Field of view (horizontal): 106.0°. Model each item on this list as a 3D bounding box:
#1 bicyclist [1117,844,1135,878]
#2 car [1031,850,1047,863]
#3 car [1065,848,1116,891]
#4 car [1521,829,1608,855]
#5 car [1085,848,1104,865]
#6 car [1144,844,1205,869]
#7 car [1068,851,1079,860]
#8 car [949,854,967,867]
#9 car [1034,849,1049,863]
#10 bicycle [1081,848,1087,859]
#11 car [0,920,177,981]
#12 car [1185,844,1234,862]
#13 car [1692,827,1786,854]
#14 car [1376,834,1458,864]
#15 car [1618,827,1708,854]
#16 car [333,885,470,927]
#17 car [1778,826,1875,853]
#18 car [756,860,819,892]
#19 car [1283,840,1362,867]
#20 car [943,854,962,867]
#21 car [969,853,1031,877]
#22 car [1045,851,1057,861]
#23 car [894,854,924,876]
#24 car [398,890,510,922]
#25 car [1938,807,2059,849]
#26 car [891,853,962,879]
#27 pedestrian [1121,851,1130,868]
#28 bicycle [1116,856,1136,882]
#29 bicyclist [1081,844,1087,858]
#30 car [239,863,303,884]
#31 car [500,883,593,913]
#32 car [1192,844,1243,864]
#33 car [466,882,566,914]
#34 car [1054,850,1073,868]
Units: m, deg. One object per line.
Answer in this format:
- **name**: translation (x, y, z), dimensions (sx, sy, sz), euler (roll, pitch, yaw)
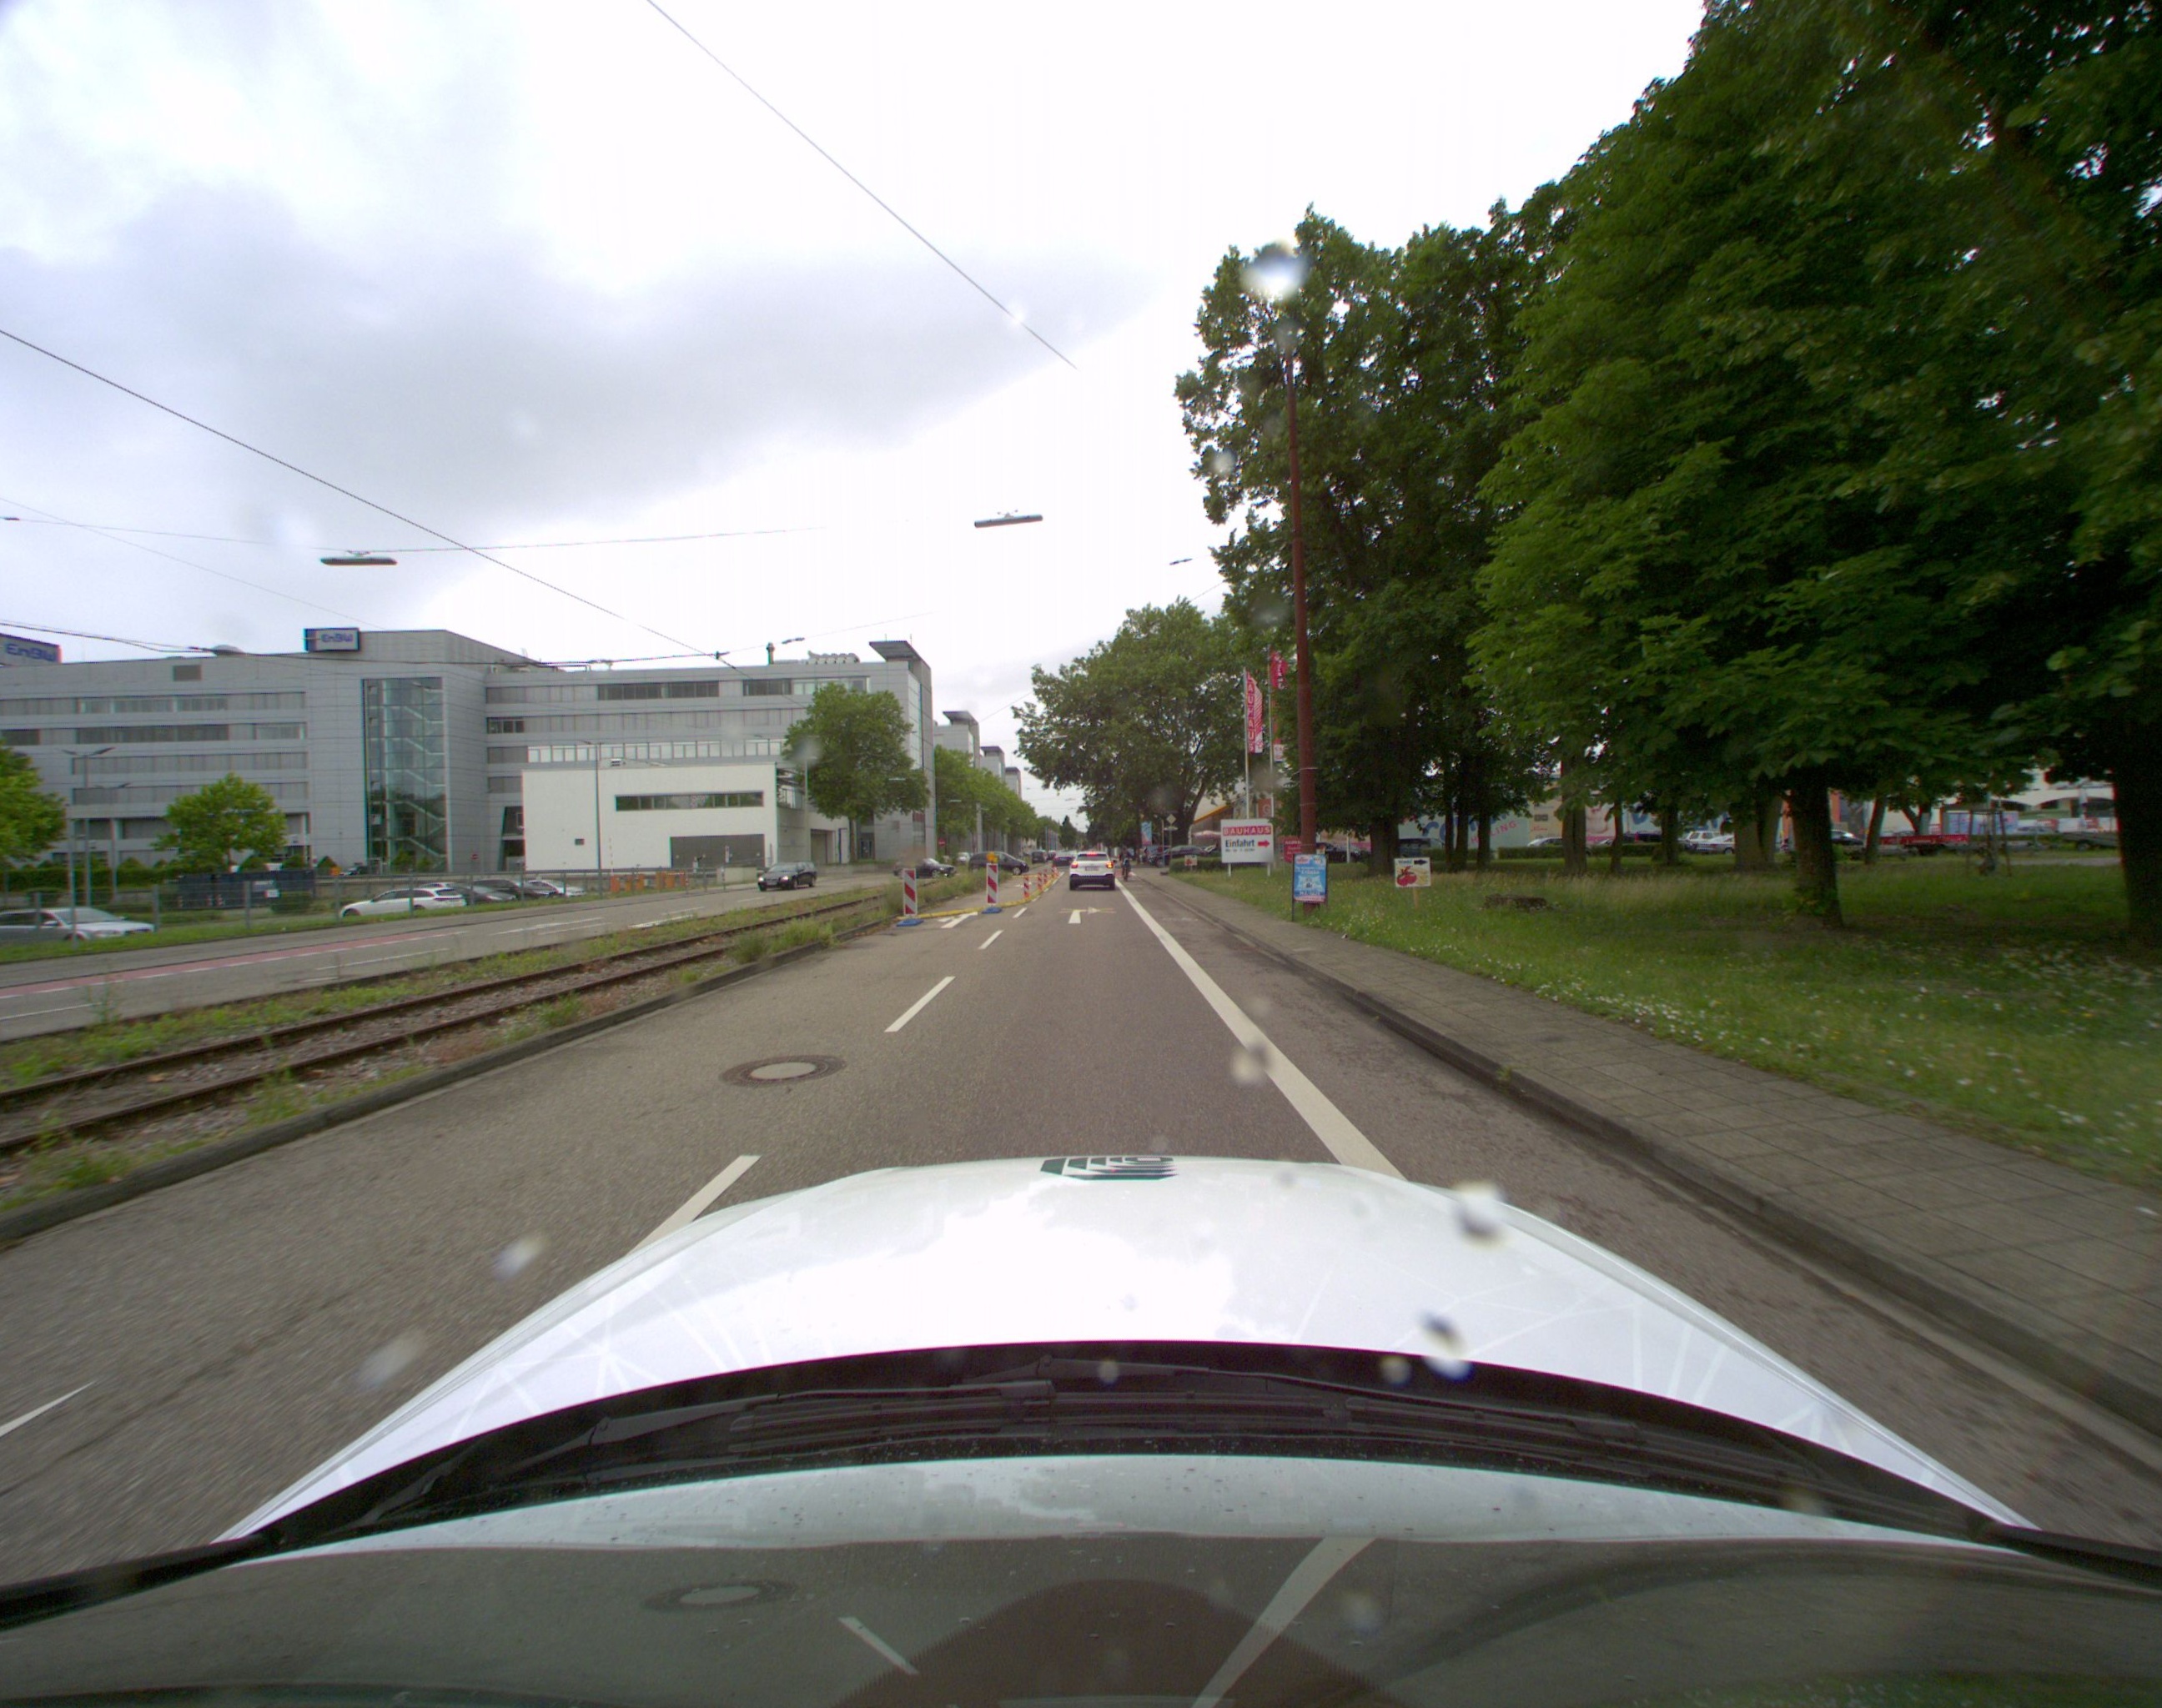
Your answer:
- **bicyclist**: translation (2.231, 0.329, 40.710), dimensions (0.814, 1.630, 1.235), euler (-2, 0, 0)
- **car**: translation (-5.610, 0.309, 108.290), dimensions (1.871, 1.632, 3.998), euler (-2, 0, -1)
- **car**: translation (0.329, 0.557, 32.749), dimensions (1.819, 1.600, 3.772), euler (0, 1, -3)
- **car**: translation (32.031, -0.781, 54.079), dimensions (4.538, 1.572, 2.073), euler (-2, 0, 0)
- **car**: translation (1.374, 0.270, 84.202), dimensions (1.871, 1.632, 3.998), euler (-2, 0, -1)
- **car**: translation (6.947, 0.188, 60.797), dimensions (4.299, 1.677, 1.993), euler (-2, 0, 0)
- **car**: translation (-1.408, 0.303, 151.427), dimensions (1.791, 1.513, 3.702), euler (0, 1, -3)
- **car**: translation (-16.949, 0.887, 112.322), dimensions (1.871, 1.632, 4.204), euler (-2, 0, -1)
- **car**: translation (-5.498, 0.256, 114.107), dimensions (1.871, 1.763, 3.998), euler (-2, 0, -1)
- **bicycle**: translation (0.407, -0.126, 105.930), dimensions (0.669, 1.394, 2.165), euler (0, 1, -2)
- **car**: translation (-31.201, 2.978, 25.244), dimensions (4.195, 1.532, 1.914), euler (-2, 0, 2)
- **car**: translation (11.840, -0.101, 75.208), dimensions (4.202, 1.551, 1.788), euler (-2, 0, -3)
- **car**: translation (43.655, -0.878, 54.109), dimensions (4.538, 1.572, 2.073), euler (-2, 0, 0)
- **car**: translation (22.207, -0.358, 53.961), dimensions (4.538, 1.790, 2.073), euler (-2, 1, 0)
- **car**: translation (38.591, -0.865, 54.080), dimensions (4.538, 1.572, 2.073), euler (-2, 0, 0)
- **car**: translation (-30.952, 2.347, 37.200), dimensions (4.515, 1.634, 1.911), euler (-2, 0, -3)
- **car**: translation (49.476, -0.966, 54.087), dimensions (4.538, 1.572, 2.073), euler (-2, 0, 0)
- **car**: translation (-15.175, 1.085, 42.333), dimensions (1.815, 1.472, 4.422), euler (-2, 0, -3)
- **car**: translation (15.797, -0.037, 53.387), dimensions (4.538, 1.572, 1.992), euler (-2, 0, 0)
- **car**: translation (-16.766, 0.841, 106.464), dimensions (1.871, 1.632, 3.998), euler (-2, 0, -1)
- **car**: translation (-5.276, 0.707, 53.409), dimensions (3.871, 1.556, 1.825), euler (0, 0, 0)
- **car**: translation (-5.212, 0.346, 142.509), dimensions (1.871, 1.763, 3.998), euler (-2, 0, -1)
- **car**: translation (-15.107, 0.942, 71.570), dimensions (1.815, 1.783, 4.422), euler (-2, 0, -3)
- **car**: translation (-31.108, 2.553, 40.500), dimensions (3.977, 1.314, 1.911), euler (-2, 0, -3)
- **car**: translation (61.381, -1.737, 54.542), dimensions (5.724, 2.537, 2.073), euler (-2, 0, 0)
- **car**: translation (-10.045, 0.782, 52.970), dimensions (4.080, 1.475, 1.835), euler (-3, -2, 22)
- **pedestrian**: translation (4.607, 0.549, 83.626), dimensions (0.759, 1.704, 0.680), euler (-2, 0, -5)
- **bicycle**: translation (2.247, 0.719, 40.713), dimensions (0.814, 1.212, 2.683), euler (-2, 0, 1)
- **bicyclist**: translation (0.401, -0.355, 106.105), dimensions (0.669, 1.815, 0.759), euler (0, 0, -3)
- **car**: translation (-86.403, 2.084, 86.964), dimensions (1.986, 2.013, 4.652), euler (-2, 0, 1)
- **car**: translation (-30.813, 2.512, 47.051), dimensions (3.977, 1.485, 1.911), euler (-2, 0, -3)
- **car**: translation (12.250, -0.005, 73.064), dimensions (4.202, 1.551, 1.788), euler (-2, 0, -3)
- **car**: translation (-30.694, 2.360, 44.318), dimensions (3.977, 1.485, 1.911), euler (-2, 0, -3)
- **car**: translation (-1.581, 0.461, 72.317), dimensions (1.680, 1.513, 3.702), euler (0, 1, -2)
